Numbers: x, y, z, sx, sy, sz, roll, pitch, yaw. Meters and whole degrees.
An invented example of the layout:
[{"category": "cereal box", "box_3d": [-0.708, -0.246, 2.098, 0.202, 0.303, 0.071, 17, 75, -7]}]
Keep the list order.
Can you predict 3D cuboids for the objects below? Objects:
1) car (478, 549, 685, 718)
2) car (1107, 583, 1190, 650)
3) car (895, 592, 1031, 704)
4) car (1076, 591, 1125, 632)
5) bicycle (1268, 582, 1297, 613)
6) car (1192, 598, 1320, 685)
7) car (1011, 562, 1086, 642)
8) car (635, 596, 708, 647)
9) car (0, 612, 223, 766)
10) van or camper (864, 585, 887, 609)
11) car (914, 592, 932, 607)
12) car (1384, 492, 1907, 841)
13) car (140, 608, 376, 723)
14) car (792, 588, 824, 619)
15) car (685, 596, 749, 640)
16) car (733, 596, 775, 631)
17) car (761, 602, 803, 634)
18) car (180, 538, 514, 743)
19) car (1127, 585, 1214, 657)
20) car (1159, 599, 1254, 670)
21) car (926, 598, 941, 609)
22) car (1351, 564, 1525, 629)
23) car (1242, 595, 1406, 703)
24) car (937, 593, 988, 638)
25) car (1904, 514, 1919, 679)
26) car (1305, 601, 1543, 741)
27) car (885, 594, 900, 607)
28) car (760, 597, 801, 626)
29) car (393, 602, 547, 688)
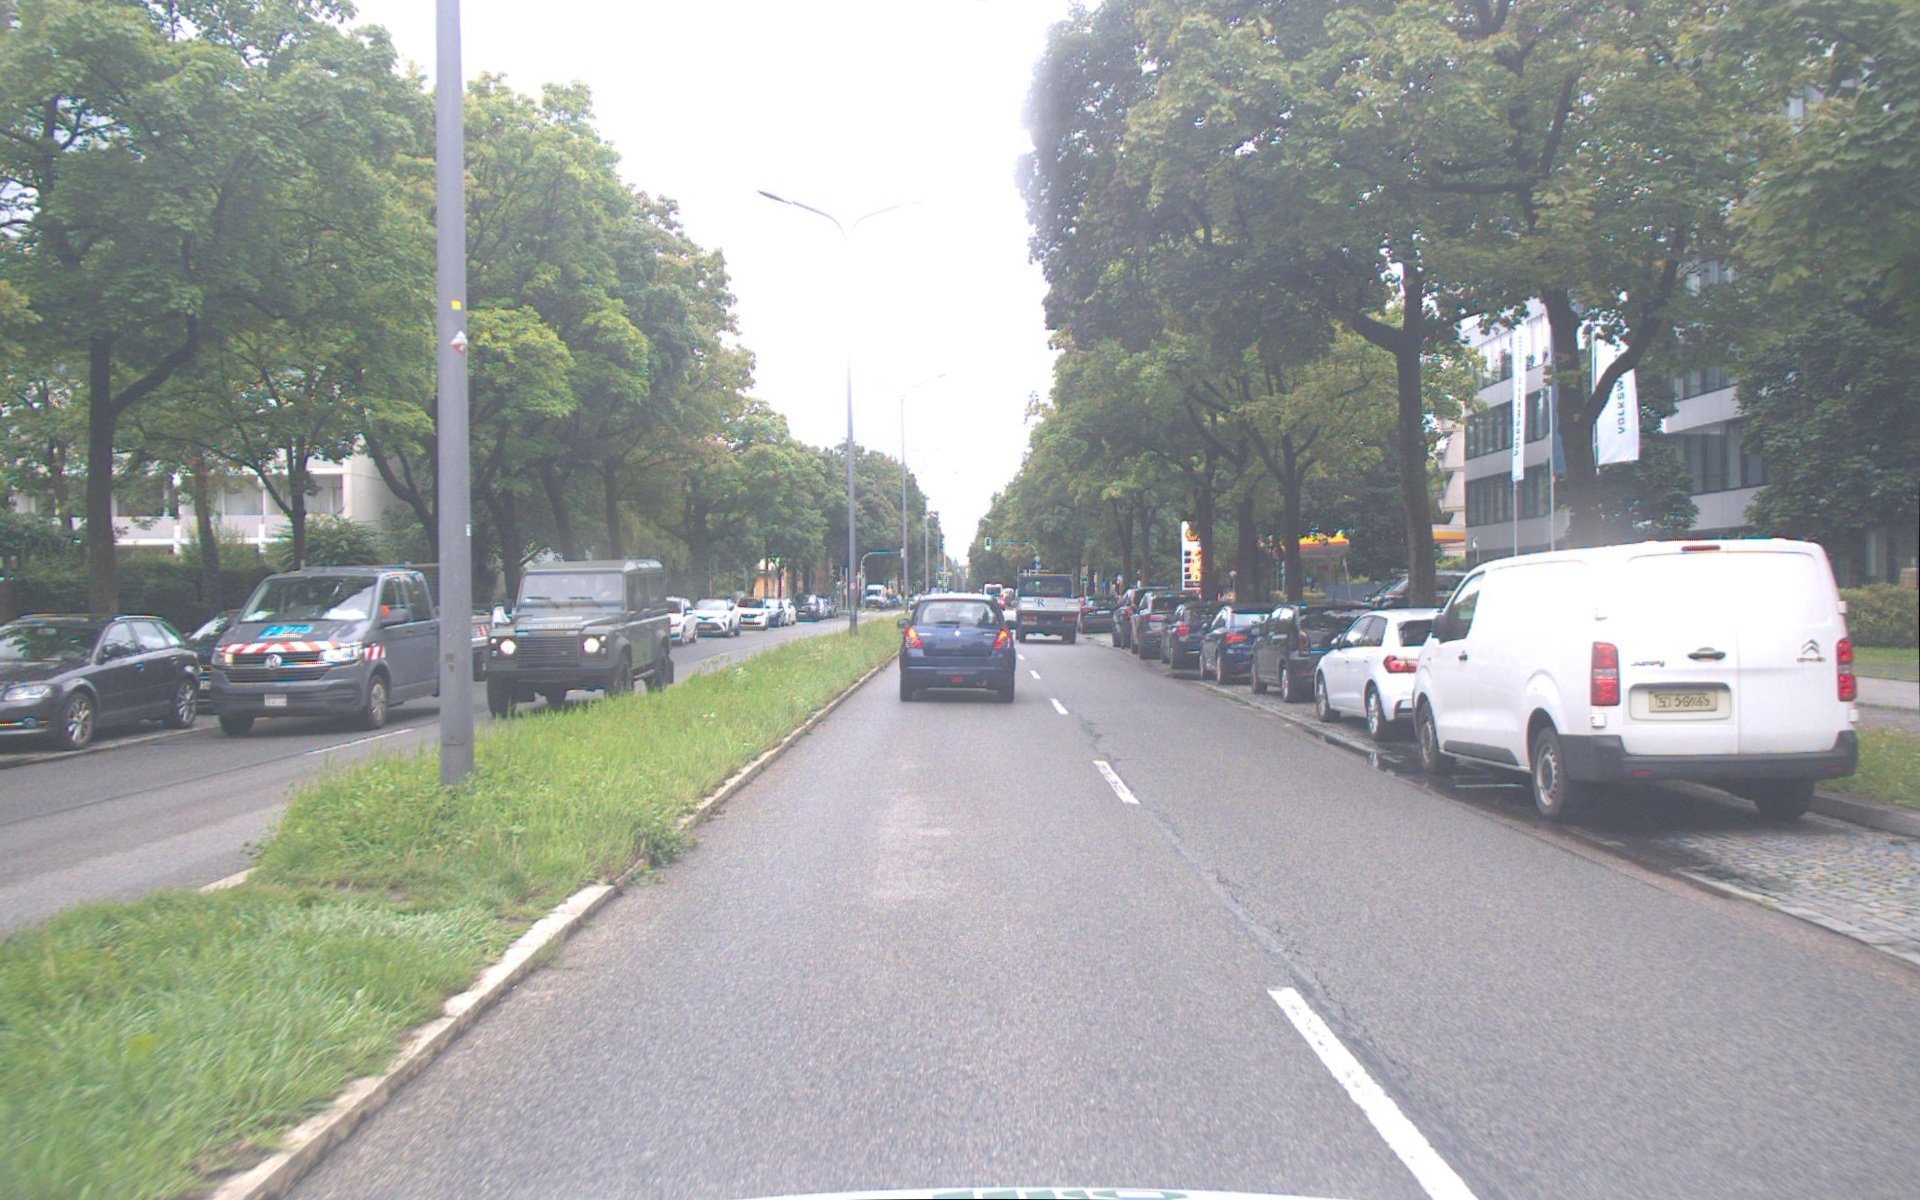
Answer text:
[{"category": "car", "box_3d": [-5.116, 0.400, 23.016, 1.744, 2.065, 4.818, -1, 0, 0]}, {"category": "car", "box_3d": [5.483, 0.442, 48.641, 1.854, 1.831, 4.861, -1, 0, 0]}, {"category": "car", "box_3d": [-0.028, 0.648, 24.583, 1.858, 1.525, 3.658, 0, 0, -3]}, {"category": "car", "box_3d": [5.727, 0.455, 67.884, 1.742, 1.537, 4.286, -3, 0, 2]}, {"category": "bicycle", "box_3d": [13.046, -0.110, 67.012, 0.733, 1.203, 2.247, -1, 0, 0]}, {"category": "car", "box_3d": [5.418, 0.724, 30.713, 1.667, 1.446, 4.121, -1, 0, 1]}, {"category": "car", "box_3d": [2.879, 0.050, 54.763, 2.368, 2.487, 5.088, 1, 0, 2]}, {"category": "car", "box_3d": [-9.903, 0.705, 56.999, 1.721, 1.622, 4.489, 2, 0, -1]}, {"category": "car", "box_3d": [-10.229, 0.922, 18.997, 1.548, 1.448, 4.362, 2, 0, 0]}, {"category": "van or camper", "box_3d": [-9.098, -0.358, 178.727, 2.096, 2.519, 6.259, -1, 0, 1]}, {"category": "car", "box_3d": [-3.732, -0.034, 167.983, 1.703, 1.465, 4.215, -1, 0, 1]}, {"category": "car", "box_3d": [5.119, 0.411, 13.414, 1.946, 2.195, 5.556, -1, 0, 1]}, {"category": "car", "box_3d": [-10.240, 0.896, 24.484, 1.592, 1.448, 4.192, 2, 0, 1]}, {"category": "car", "box_3d": [-9.534, 0.210, 103.845, 1.760, 1.794, 5.054, 2, 0, -4]}, {"category": "car", "box_3d": [-9.785, 0.685, 66.894, 1.794, 1.637, 4.492, 2, 0, 1]}, {"category": "car", "box_3d": [-9.918, 0.617, 79.844, 1.656, 1.593, 3.078, 2, 0, -2]}, {"category": "car", "box_3d": [-9.164, 0.906, 85.298, 1.640, 1.501, 4.215, 2, 0, 1]}, {"category": "car", "box_3d": [-7.761, 0.445, 21.740, 2.164, 2.232, 5.799, -2, 0, 0]}, {"category": "car", "box_3d": [5.362, 0.503, 42.639, 1.775, 1.705, 4.801, -1, 0, 2]}, {"category": "car", "box_3d": [5.473, 0.735, 37.206, 1.666, 1.432, 4.514, -1, 0, 3]}, {"category": "car", "box_3d": [-3.426, 0.445, 214.006, 1.701, 1.467, 4.103, -1, 0, 1]}, {"category": "car", "box_3d": [16.377, -0.110, 56.876, 5.358, 2.120, 2.147, -1, 0, -1]}, {"category": "car", "box_3d": [5.513, 0.694, 25.515, 1.667, 1.472, 3.979, -1, 0, 1]}, {"category": "car", "box_3d": [0.092, 0.540, 59.289, 1.762, 1.525, 3.660, -1, 0, 0]}, {"category": "car", "box_3d": [14.793, -0.063, 20.692, 2.219, 2.347, 6.266, -1, 0, -1]}, {"category": "car", "box_3d": [5.388, 0.760, 19.751, 1.667, 1.422, 4.233, -1, 0, 1]}, {"category": "car", "box_3d": [-8.177, 0.069, 199.638, 1.602, 1.467, 3.735, -1, 0, 1]}, {"category": "car", "box_3d": [-9.769, 0.615, 90.367, 1.640, 1.468, 4.320, 2, 0, 1]}, {"category": "car", "box_3d": [-10.128, 0.877, 34.580, 1.681, 1.551, 5.034, 2, 0, 0]}]
